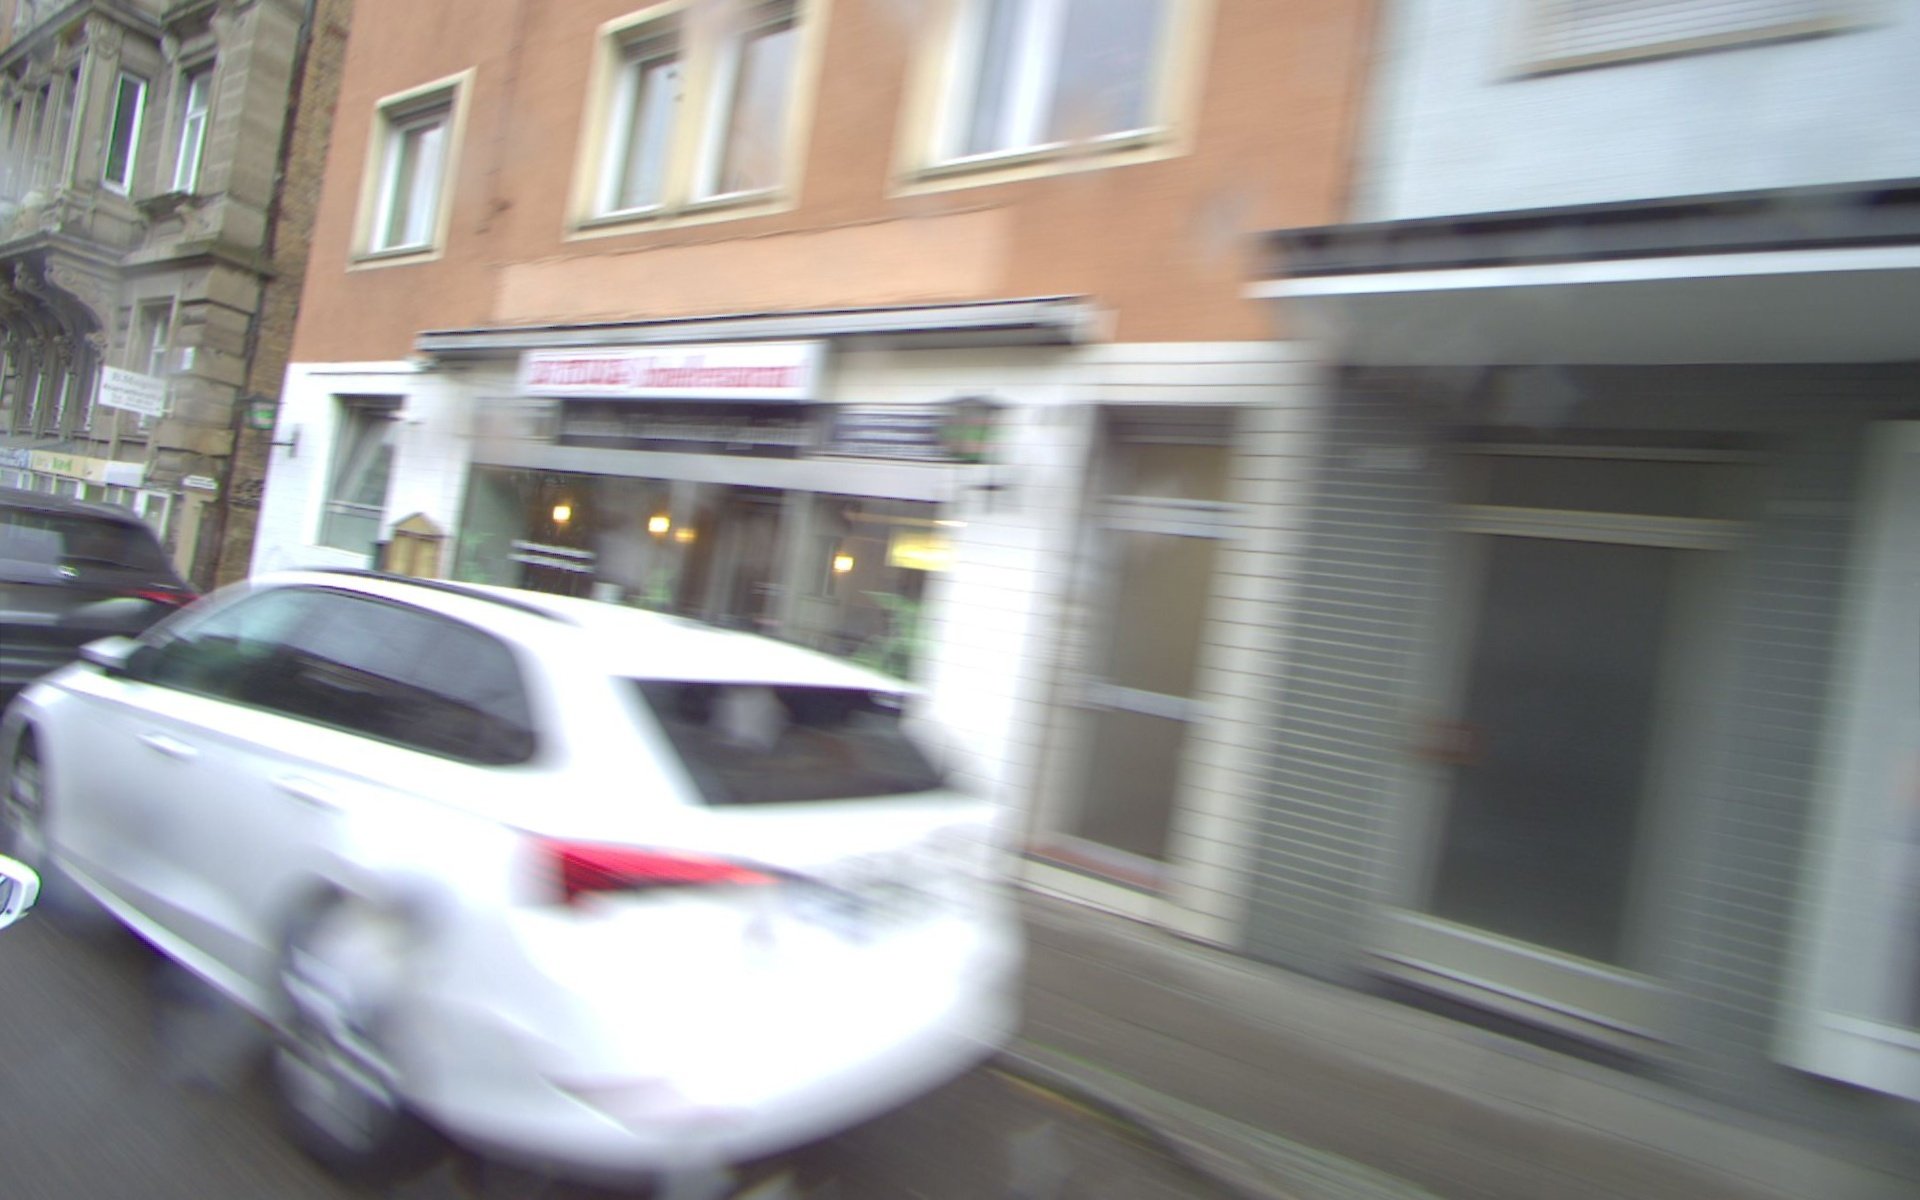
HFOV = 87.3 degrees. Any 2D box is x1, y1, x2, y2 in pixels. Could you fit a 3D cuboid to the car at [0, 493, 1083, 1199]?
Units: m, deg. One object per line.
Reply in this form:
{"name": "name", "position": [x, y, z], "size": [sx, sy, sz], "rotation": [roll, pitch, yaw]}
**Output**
{"name": "car", "position": [-2.018, 0.508, 3.840], "size": [4.515, 1.472, 1.804], "rotation": [4, -3, 35]}

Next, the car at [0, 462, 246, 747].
{"name": "car", "position": [-7.347, -0.086, 7.385], "size": [4.515, 1.650, 1.849], "rotation": [5, -4, 35]}
